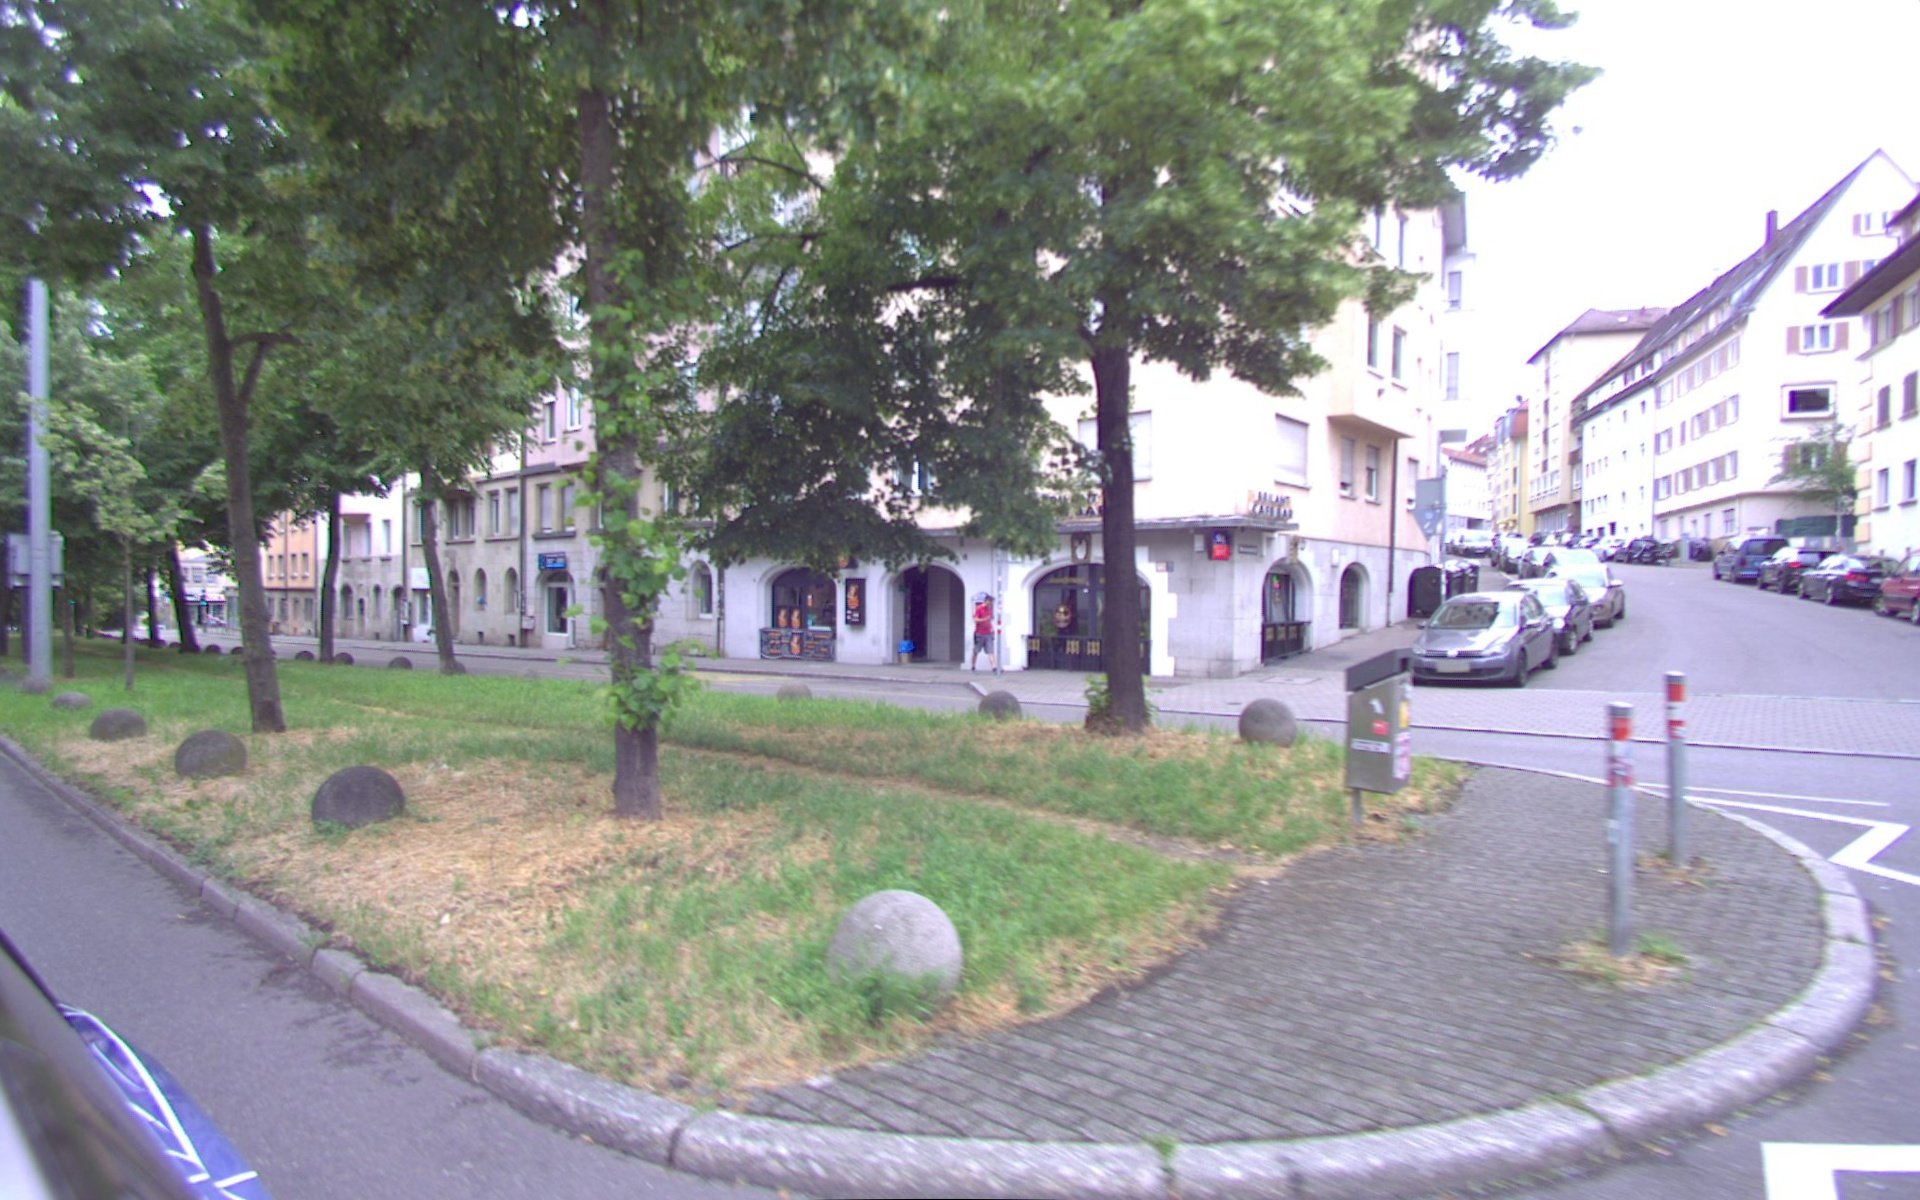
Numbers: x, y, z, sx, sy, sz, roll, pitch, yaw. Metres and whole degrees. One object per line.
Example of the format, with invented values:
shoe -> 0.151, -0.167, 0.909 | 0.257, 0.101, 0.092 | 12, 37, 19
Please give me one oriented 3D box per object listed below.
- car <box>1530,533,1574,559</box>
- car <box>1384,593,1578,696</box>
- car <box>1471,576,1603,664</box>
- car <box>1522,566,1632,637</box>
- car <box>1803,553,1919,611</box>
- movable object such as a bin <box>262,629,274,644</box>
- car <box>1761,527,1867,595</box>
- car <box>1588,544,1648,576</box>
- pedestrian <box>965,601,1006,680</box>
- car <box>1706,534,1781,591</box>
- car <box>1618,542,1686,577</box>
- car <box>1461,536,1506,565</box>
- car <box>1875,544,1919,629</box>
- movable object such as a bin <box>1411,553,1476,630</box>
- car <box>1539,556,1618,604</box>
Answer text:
car -> 44.316, -4.028, 75.845 | 1.983, 1.792, 3.977 | -1, 1, 17
car -> 9.388, 0.716, 18.068 | 2.047, 1.430, 4.243 | -2, 1, 42
car -> 12.383, 0.368, 21.609 | 1.996, 1.430, 3.953 | -1, 4, 36
car -> 15.678, -0.006, 25.627 | 1.901, 1.430, 3.993 | -1, 4, 38
car -> 25.086, -0.487, 28.093 | 1.993, 1.475, 3.957 | -1, 0, 31
movable object such as a bin -> -45.867, 2.421, 67.106 | 0.506, 0.934, 0.779 | -1, -1, -44
car -> 27.642, -1.210, 32.886 | 1.993, 2.029, 3.957 | -1, 0, 31
car -> 39.288, -2.365, 60.515 | 1.983, 1.792, 3.977 | -1, 1, 17
pedestrian -> 0.541, 0.864, 21.839 | 0.701, 1.679, 0.526 | -1, -1, 42
car -> 29.976, -1.414, 38.810 | 1.995, 2.029, 3.954 | -1, 0, 34
car -> 38.145, -2.214, 55.919 | 1.983, 1.792, 3.977 | -1, 1, 17
car -> 35.513, -3.318, 68.730 | 1.983, 1.792, 3.977 | -1, 1, 17
car -> 22.601, -0.341, 23.102 | 1.801, 1.837, 3.957 | -1, 0, 31
movable object such as a bin -> 13.203, -0.233, 27.630 | 1.093, 2.029, 1.973 | -1, 0, 41
car -> 20.610, -0.687, 33.638 | 1.995, 1.453, 3.953 | -1, 1, 35
